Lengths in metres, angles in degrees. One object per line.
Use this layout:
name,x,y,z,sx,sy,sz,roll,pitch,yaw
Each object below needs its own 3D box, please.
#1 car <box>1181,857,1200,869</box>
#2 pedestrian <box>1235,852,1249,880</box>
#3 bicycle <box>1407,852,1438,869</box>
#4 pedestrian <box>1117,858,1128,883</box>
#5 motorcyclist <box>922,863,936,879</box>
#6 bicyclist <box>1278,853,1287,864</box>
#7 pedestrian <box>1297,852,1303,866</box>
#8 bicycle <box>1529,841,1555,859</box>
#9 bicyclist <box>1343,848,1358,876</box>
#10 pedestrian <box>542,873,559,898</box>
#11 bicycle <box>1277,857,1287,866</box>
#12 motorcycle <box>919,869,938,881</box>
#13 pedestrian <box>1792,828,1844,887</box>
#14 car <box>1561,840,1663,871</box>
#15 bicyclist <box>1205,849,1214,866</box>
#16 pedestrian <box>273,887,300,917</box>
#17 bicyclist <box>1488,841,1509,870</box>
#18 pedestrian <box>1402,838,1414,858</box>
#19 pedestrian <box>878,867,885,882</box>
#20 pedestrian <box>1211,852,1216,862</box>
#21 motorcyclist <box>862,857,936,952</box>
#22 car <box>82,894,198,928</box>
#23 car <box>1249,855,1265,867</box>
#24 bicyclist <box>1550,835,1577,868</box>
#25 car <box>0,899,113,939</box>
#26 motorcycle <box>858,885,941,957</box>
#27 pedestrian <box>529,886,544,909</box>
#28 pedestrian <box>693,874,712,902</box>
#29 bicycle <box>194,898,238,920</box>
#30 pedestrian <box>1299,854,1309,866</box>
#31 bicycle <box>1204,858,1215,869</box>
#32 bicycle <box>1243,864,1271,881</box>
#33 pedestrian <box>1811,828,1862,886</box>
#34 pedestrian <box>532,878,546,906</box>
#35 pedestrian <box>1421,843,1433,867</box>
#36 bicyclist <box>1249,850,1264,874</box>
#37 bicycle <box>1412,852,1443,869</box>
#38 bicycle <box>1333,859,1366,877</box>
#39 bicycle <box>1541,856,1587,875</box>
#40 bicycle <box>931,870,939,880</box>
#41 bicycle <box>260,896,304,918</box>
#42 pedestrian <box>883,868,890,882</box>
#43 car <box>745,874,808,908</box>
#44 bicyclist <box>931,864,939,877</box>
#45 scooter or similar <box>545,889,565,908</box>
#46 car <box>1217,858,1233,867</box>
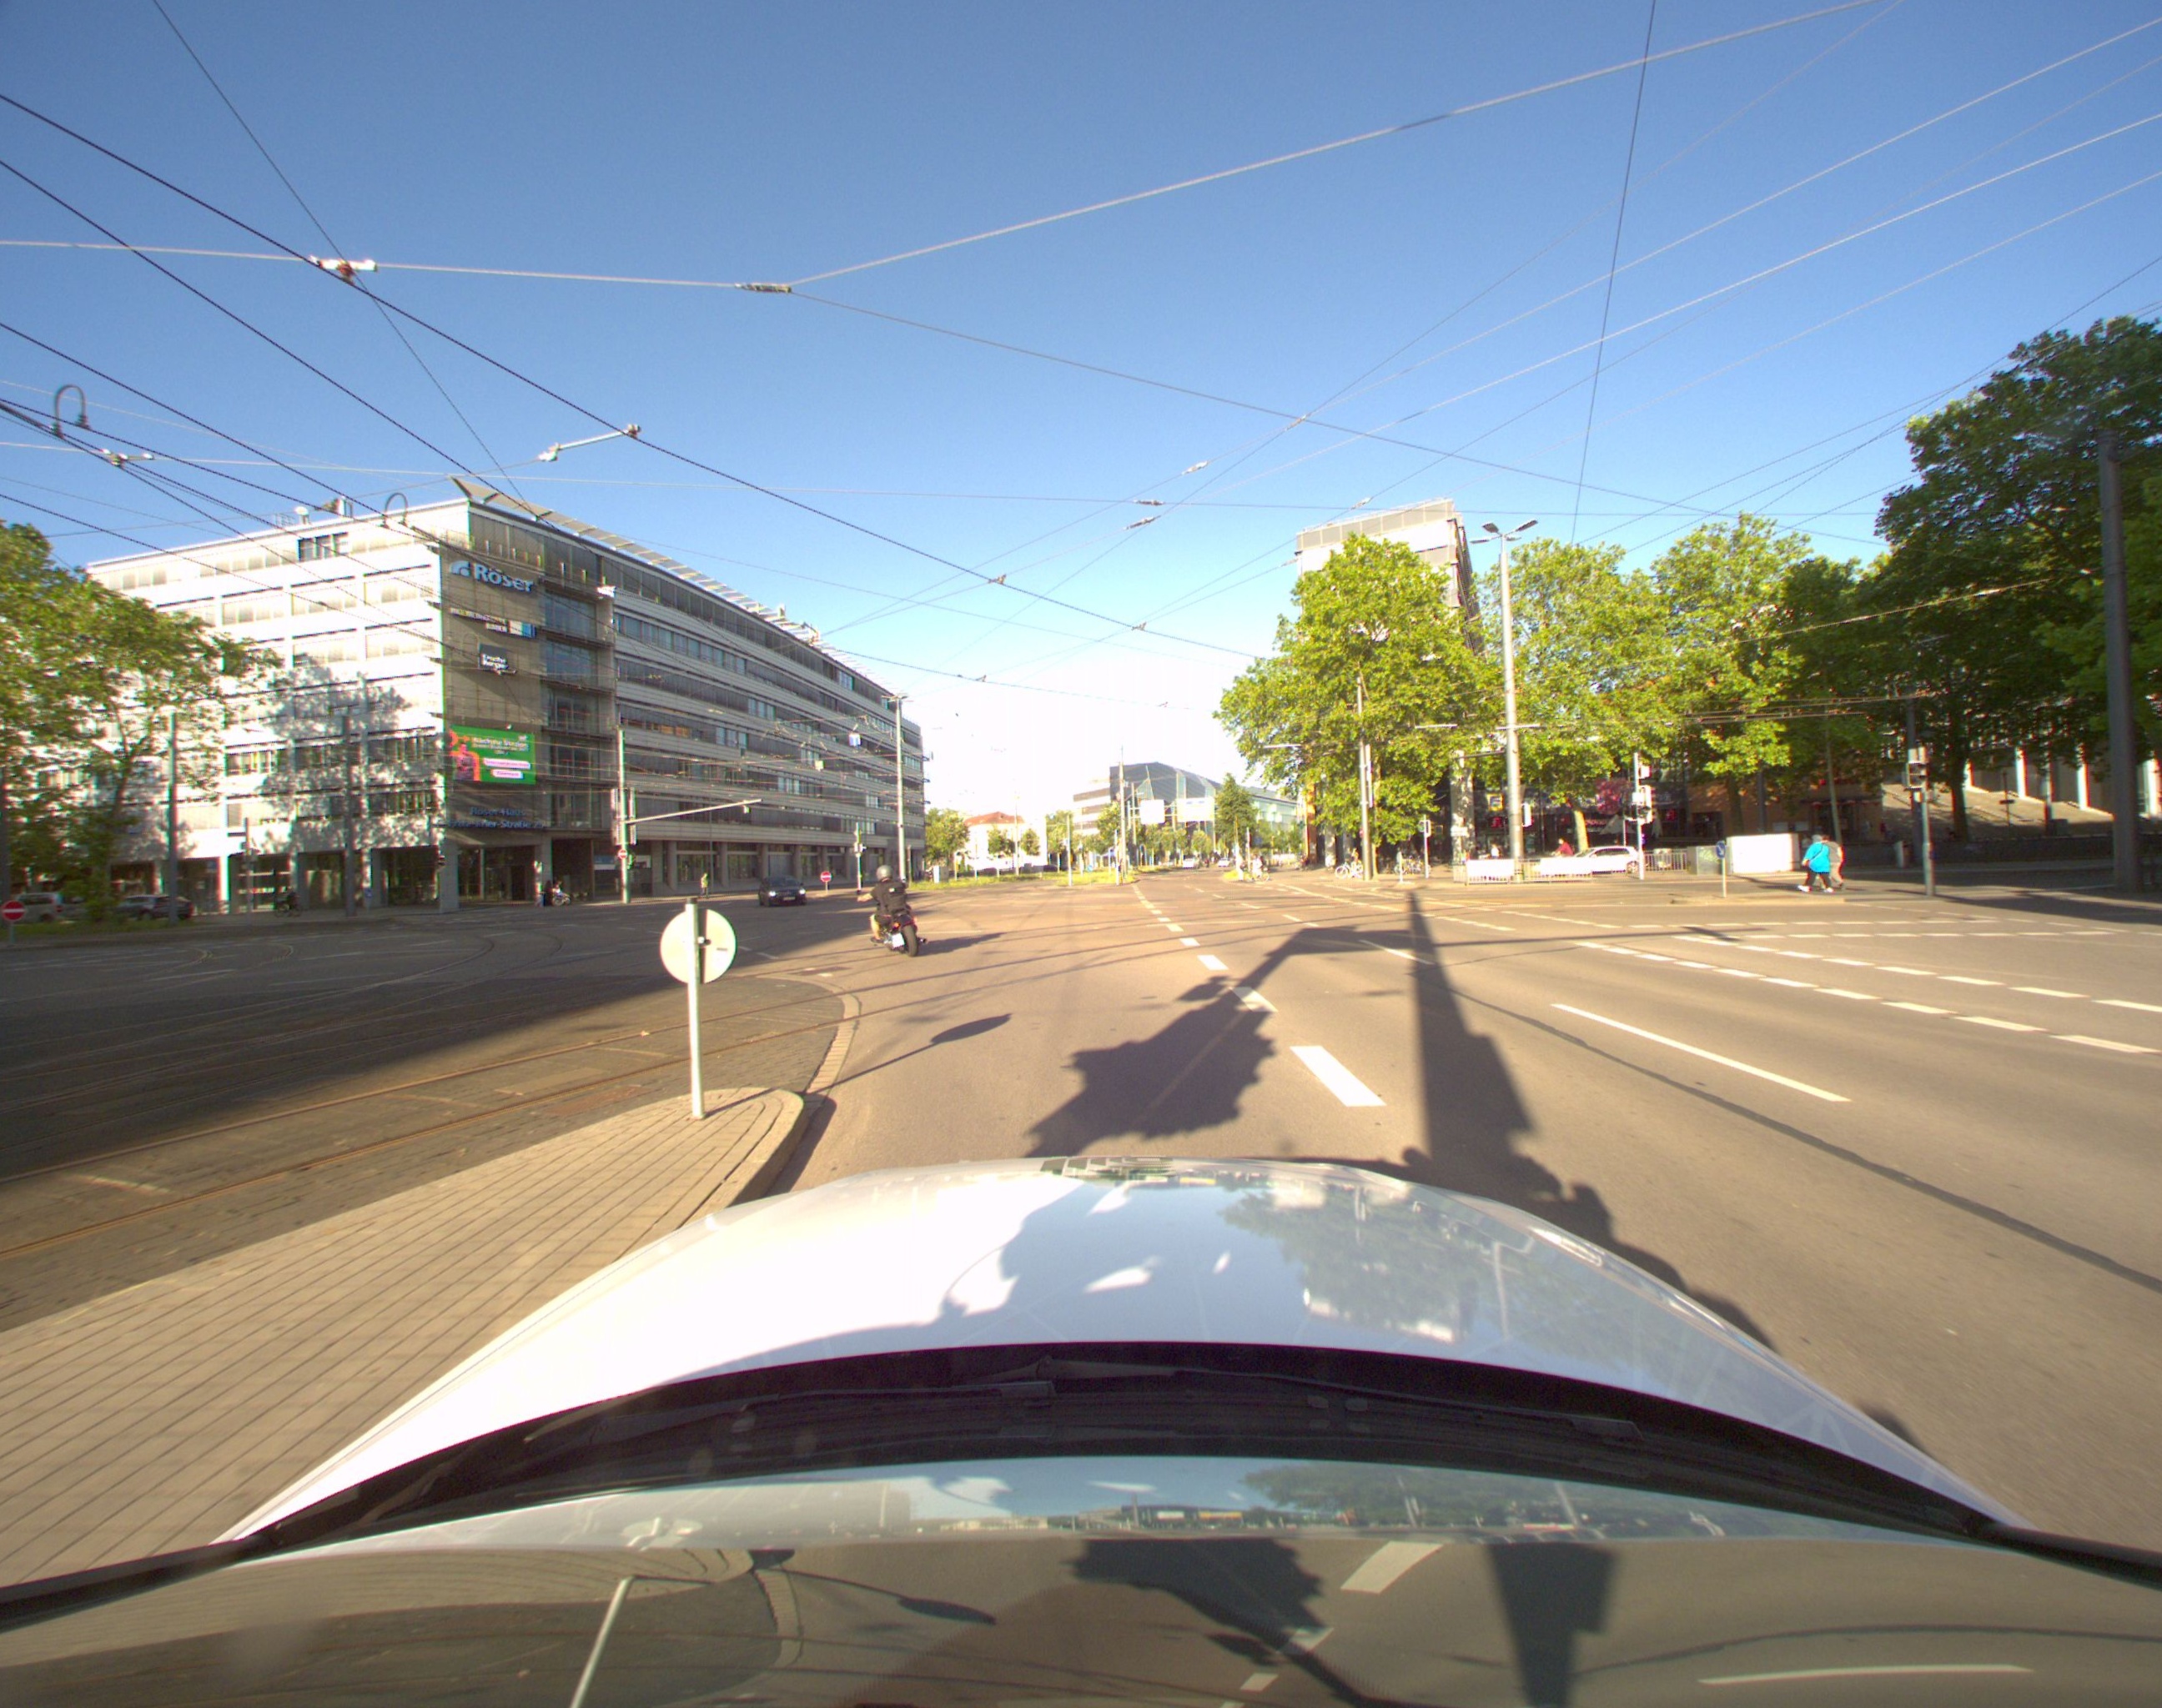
car,15.185,1.233,112.587,1.886,1.508,4.018,-1,-1,18
pedestrian,10.553,0.767,53.474,0.693,1.837,0.518,-2,-1,36
bicycle,21.539,0.389,51.371,1.692,0.986,0.392,-2,0,14
pedestrian,2.735,1.096,53.239,0.654,1.582,0.490,-2,0,5
motorcyclist,-17.277,1.940,92.440,1.012,1.731,1.465,-2,-1,12
bicyclist,26.078,0.537,105.505,1.033,1.381,1.569,-2,0,12
pedestrian,26.314,0.577,97.797,0.700,1.569,0.625,-2,0,15
bicycle,30.473,-0.274,53.796,0.866,1.091,2.951,-2,0,42
bicyclist,16.331,0.496,49.421,0.737,1.694,0.572,-3,-1,12
pedestrian,-36.750,2.182,56.407,0.640,1.715,0.692,-2,-1,8
bicycle,26.035,0.919,105.481,1.033,1.133,3.191,-2,0,12
motorcycle,-17.271,2.384,92.388,0.977,1.232,2.953,-2,-1,12
pedestrian,19.649,0.103,21.715,0.674,1.540,0.740,-1,-1,-7
car,27.548,0.097,42.384,3.967,1.486,2.003,-1,-1,5
bicyclist,19.937,0.506,126.292,1.008,2.624,1.479,-2,-1,19
pedestrian,-44.645,2.714,45.756,0.831,1.611,0.607,-1,2,4
bicyclist,29.304,0.101,57.121,1.215,1.931,0.840,-2,-1,31
pedestrian,26.358,-0.491,65.600,0.769,1.527,0.567,-3,-1,26
pedestrian,-23.938,2.432,97.545,0.545,1.733,0.643,-2,0,7
pedestrian,23.790,0.577,146.401,0.635,1.819,0.634,-3,-1,33
motorcyclist,-3.206,0.841,14.274,1.027,1.552,1.276,-1,-1,-23
car,-51.729,3.119,44.822,4.379,1.572,1.868,-2,2,5
car,28.943,1.114,133.639,2.036,1.874,4.247,-1,-1,19
bicyclist,24.111,-0.140,40.678,0.921,1.615,0.638,-2,-1,5
car,-57.146,3.579,45.031,4.889,1.843,1.930,-2,2,2
motorcycle,-3.227,1.135,14.261,1.010,1.125,2.305,-1,-3,-23
pedestrian,-33.466,2.669,50.059,0.640,1.402,0.541,-2,-1,-28
pedestrian,-25.872,2.327,55.624,0.875,1.823,0.680,-4,-1,21
bicycle,-52.411,3.313,49.345,0.466,1.151,1.843,-2,1,8
pedestrian,20.487,0.578,74.842,0.777,1.057,0.818,-3,0,24
bicycle,19.920,1.446,126.232,1.008,1.579,3.591,-2,0,19
bicycle,11.111,1.177,51.410,1.613,1.021,0.519,-3,-1,21
pedestrian,20.380,0.081,21.974,0.649,1.540,0.740,-1,-1,-7
pedestrian,-33.901,2.376,50.958,0.640,1.708,0.576,-2,-1,-28
pedestrian,27.809,0.078,65.417,0.839,1.852,0.814,0,-1,27
bicyclist,11.098,0.490,51.421,0.736,1.503,0.573,-3,-1,26
bicycle,21.112,0.382,49.620,1.692,0.986,0.392,-2,0,14
bicycle,16.298,0.854,49.422,1.840,1.021,0.518,-3,-1,12
bicycle,24.113,0.565,40.665,1.844,0.910,0.653,-2,-1,5
bicycle,-18.162,2.600,101.323,0.640,1.107,1.686,-2,0,3
bicycle,-44.680,2.951,45.535,1.834,1.163,0.613,-1,3,2
pedestrian,-23.321,2.519,97.549,0.545,1.733,0.643,-2,0,7
car,-14.632,1.733,39.017,1.805,1.466,4.264,-3,0,-35
bicyclist,-18.175,2.044,101.351,0.760,1.667,0.994,-2,-1,3
scooter or similar,-33.159,2.819,51.350,1.021,1.129,0.545,-2,-1,-28
car,24.202,1.358,136.513,1.999,1.376,4.058,-2,0,19
